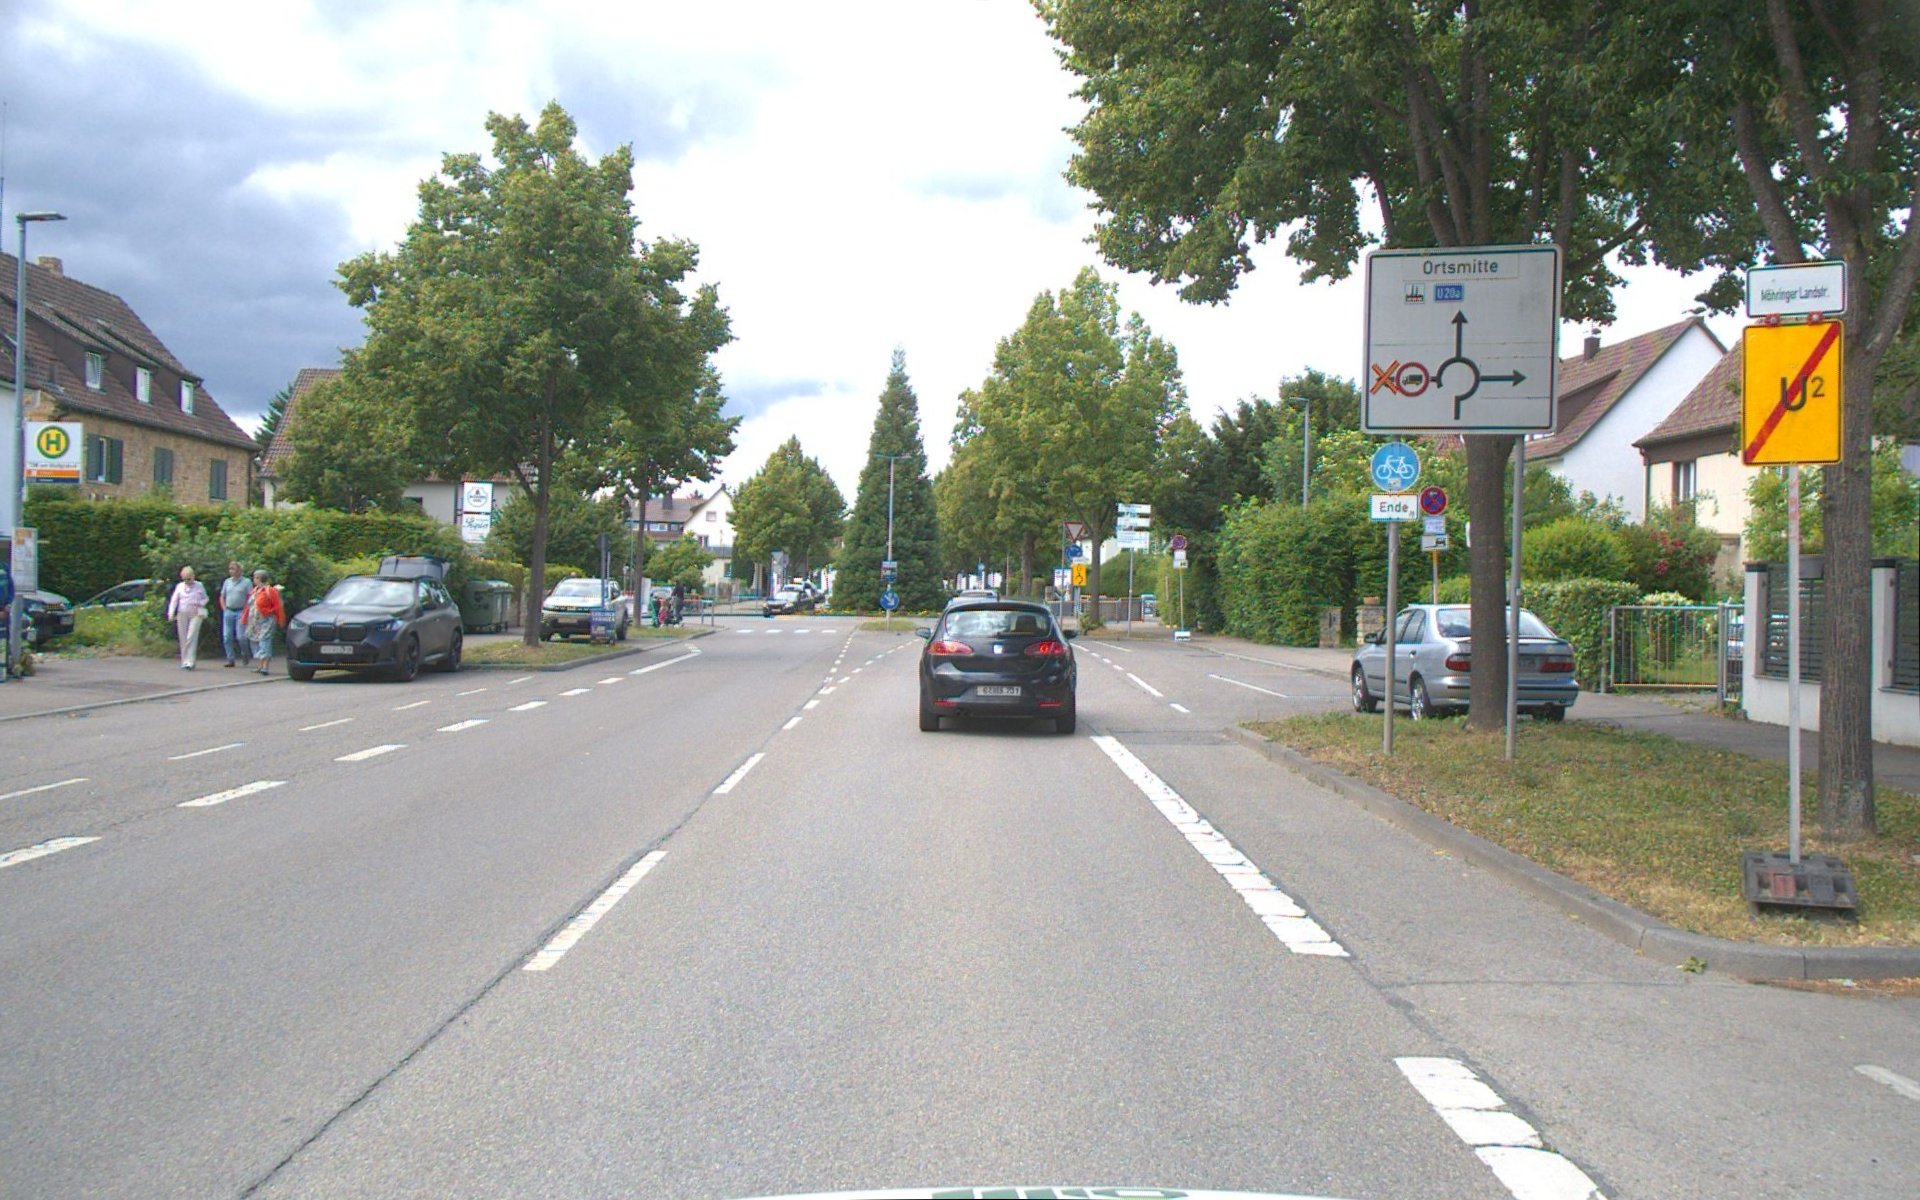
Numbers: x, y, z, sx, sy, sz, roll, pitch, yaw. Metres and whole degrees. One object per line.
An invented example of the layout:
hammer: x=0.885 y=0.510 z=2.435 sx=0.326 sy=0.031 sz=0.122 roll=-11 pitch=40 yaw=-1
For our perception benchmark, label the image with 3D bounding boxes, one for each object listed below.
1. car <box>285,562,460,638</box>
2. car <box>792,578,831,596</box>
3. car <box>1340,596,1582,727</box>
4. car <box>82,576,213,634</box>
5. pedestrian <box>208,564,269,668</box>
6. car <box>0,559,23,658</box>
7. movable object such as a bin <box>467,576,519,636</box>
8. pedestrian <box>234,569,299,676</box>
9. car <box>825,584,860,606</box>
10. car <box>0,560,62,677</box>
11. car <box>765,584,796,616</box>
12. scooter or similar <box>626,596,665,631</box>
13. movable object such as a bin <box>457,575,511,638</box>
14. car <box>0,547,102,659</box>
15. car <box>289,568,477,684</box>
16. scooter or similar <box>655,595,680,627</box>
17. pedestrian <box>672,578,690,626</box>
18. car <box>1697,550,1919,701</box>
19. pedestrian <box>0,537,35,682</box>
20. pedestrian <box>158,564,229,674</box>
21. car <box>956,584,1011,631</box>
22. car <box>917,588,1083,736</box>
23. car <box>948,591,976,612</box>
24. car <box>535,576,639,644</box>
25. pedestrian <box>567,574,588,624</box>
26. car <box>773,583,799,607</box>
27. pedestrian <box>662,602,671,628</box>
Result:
car: x=-15.601 y=0.001 z=44.068 sx=3.906 sy=1.924 sz=2.000 roll=1 pitch=0 yaw=-1
car: x=-16.709 y=-1.434 z=186.531 sx=3.903 sy=2.005 sz=2.037 roll=0 pitch=0 yaw=18
car: x=5.917 y=0.700 z=20.048 sx=1.579 sy=1.401 sz=4.386 roll=1 pitch=-1 yaw=-1
car: x=-21.217 y=0.133 z=43.253 sx=2.771 sy=1.467 sz=1.297 roll=1 pitch=0 yaw=-6
pedestrian: x=-11.963 y=0.260 z=27.452 sx=0.772 sy=1.692 sz=0.590 roll=1 pitch=0 yaw=-8
car: x=-16.603 y=0.035 z=24.853 sx=3.912 sy=1.508 sz=1.788 roll=3 pitch=0 yaw=-8
movable object such as a bin: x=-13.597 y=0.169 z=48.170 sx=1.182 sy=1.680 sz=0.997 roll=3 pitch=0 yaw=-4
pedestrian: x=-11.126 y=0.357 z=26.565 sx=0.772 sy=1.692 sz=0.753 roll=1 pitch=0 yaw=-8
car: x=-8.391 y=-0.370 z=118.191 sx=1.830 sy=1.588 sz=4.262 roll=0 pitch=0 yaw=4
car: x=-15.170 y=0.172 z=22.898 sx=4.442 sy=1.581 sz=2.026 roll=2 pitch=0 yaw=-18
car: x=-9.486 y=-0.020 z=87.418 sx=1.538 sy=1.663 sz=3.618 roll=0 pitch=0 yaw=-5
scooter or similar: x=-10.707 y=0.455 z=56.401 sx=1.272 sy=1.158 sz=0.343 roll=0 pitch=0 yaw=-33
movable object such as a bin: x=-13.383 y=0.178 z=46.495 sx=1.182 sy=1.680 sz=0.997 roll=3 pitch=0 yaw=-4
car: x=-16.807 y=-0.005 z=27.756 sx=3.902 sy=1.720 sz=1.872 roll=1 pitch=4 yaw=9
car: x=-9.489 y=0.388 z=27.580 sx=1.690 sy=1.755 sz=4.562 roll=1 pitch=0 yaw=-3
scooter or similar: x=-10.675 y=0.398 z=60.302 sx=0.403 sy=1.114 sz=0.955 roll=3 pitch=0 yaw=-42
pedestrian: x=-10.093 y=0.067 z=59.778 sx=0.477 sy=1.699 sz=0.509 roll=1 pitch=0 yaw=-35
car: x=12.000 y=0.322 z=21.550 sx=3.907 sy=1.854 sz=1.999 roll=1 pitch=0 yaw=-3
pedestrian: x=-12.340 y=0.111 z=21.263 sx=0.493 sy=1.837 sz=0.671 roll=1 pitch=0 yaw=-1
pedestrian: x=-12.112 y=0.293 z=26.148 sx=0.772 sy=1.692 sz=0.880 roll=1 pitch=0 yaw=-8
car: x=0.847 y=0.258 z=61.048 sx=1.953 sy=1.641 sz=4.000 roll=1 pitch=0 yaw=0
car: x=0.471 y=0.635 z=19.044 sx=1.696 sy=1.512 sz=4.001 roll=0 pitch=0 yaw=2
car: x=0.148 y=0.101 z=123.545 sx=1.448 sy=1.515 sz=3.373 roll=1 pitch=0 yaw=-11
car: x=-9.852 y=0.243 z=44.022 sx=1.823 sy=1.682 sz=4.293 roll=1 pitch=0 yaw=-1
pedestrian: x=-14.191 y=-0.041 z=61.335 sx=0.557 sy=1.815 sz=0.533 roll=1 pitch=0 yaw=-41
car: x=-14.649 y=-0.434 z=139.448 sx=1.989 sy=2.005 sz=3.997 roll=0 pitch=0 yaw=-4
pedestrian: x=-10.388 y=0.516 z=58.623 sx=0.235 sy=0.910 sz=0.257 roll=1 pitch=0 yaw=-28
